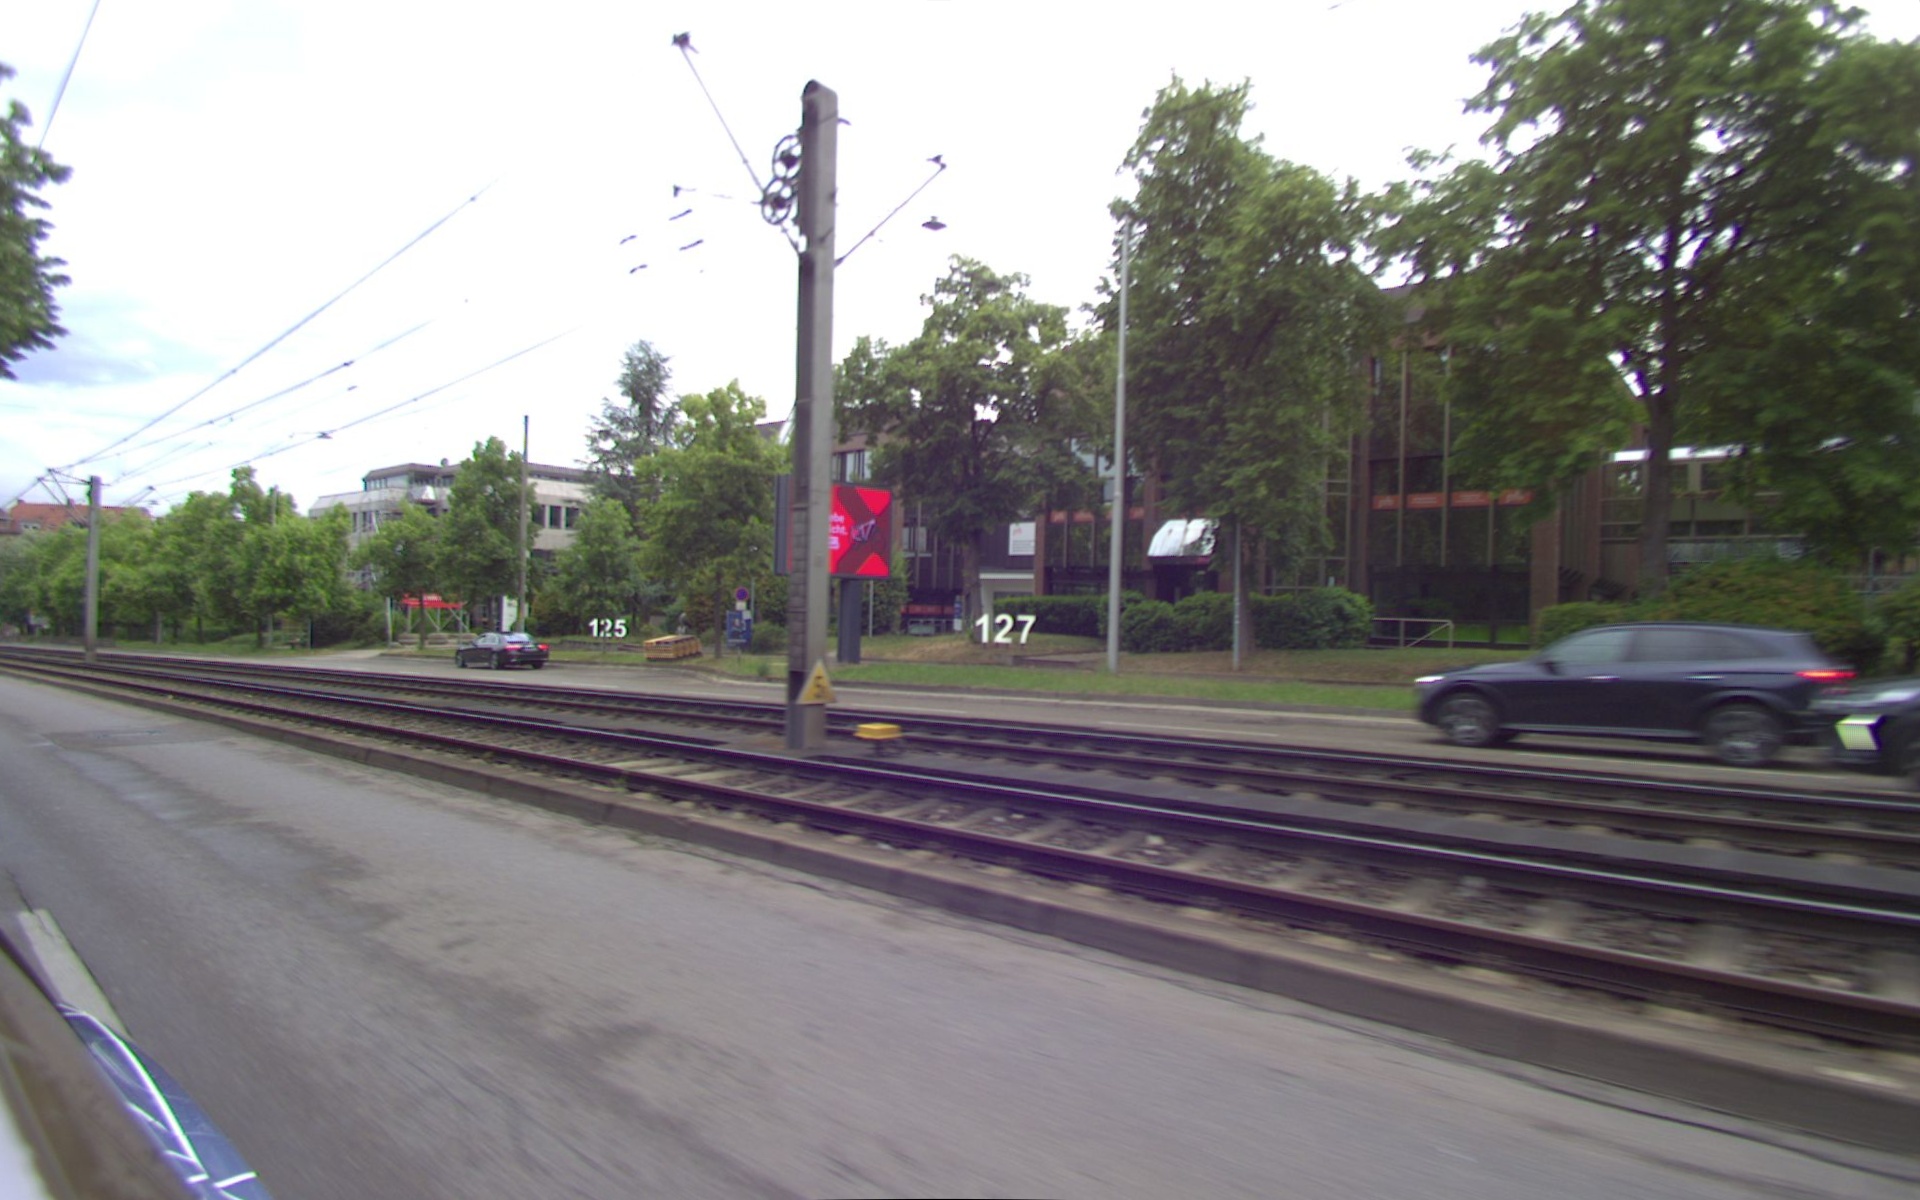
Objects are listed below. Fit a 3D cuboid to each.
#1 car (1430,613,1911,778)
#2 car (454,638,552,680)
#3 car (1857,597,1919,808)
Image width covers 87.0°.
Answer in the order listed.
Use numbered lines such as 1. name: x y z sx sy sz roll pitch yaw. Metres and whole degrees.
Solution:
1. car: 8.611 1.045 12.597 4.616 1.669 1.991 -2 -3 43
2. car: -18.504 2.336 40.881 4.618 1.541 1.776 -1 -2 40
3. car: 9.554 0.787 7.529 4.237 1.669 1.815 -2 -2 41
